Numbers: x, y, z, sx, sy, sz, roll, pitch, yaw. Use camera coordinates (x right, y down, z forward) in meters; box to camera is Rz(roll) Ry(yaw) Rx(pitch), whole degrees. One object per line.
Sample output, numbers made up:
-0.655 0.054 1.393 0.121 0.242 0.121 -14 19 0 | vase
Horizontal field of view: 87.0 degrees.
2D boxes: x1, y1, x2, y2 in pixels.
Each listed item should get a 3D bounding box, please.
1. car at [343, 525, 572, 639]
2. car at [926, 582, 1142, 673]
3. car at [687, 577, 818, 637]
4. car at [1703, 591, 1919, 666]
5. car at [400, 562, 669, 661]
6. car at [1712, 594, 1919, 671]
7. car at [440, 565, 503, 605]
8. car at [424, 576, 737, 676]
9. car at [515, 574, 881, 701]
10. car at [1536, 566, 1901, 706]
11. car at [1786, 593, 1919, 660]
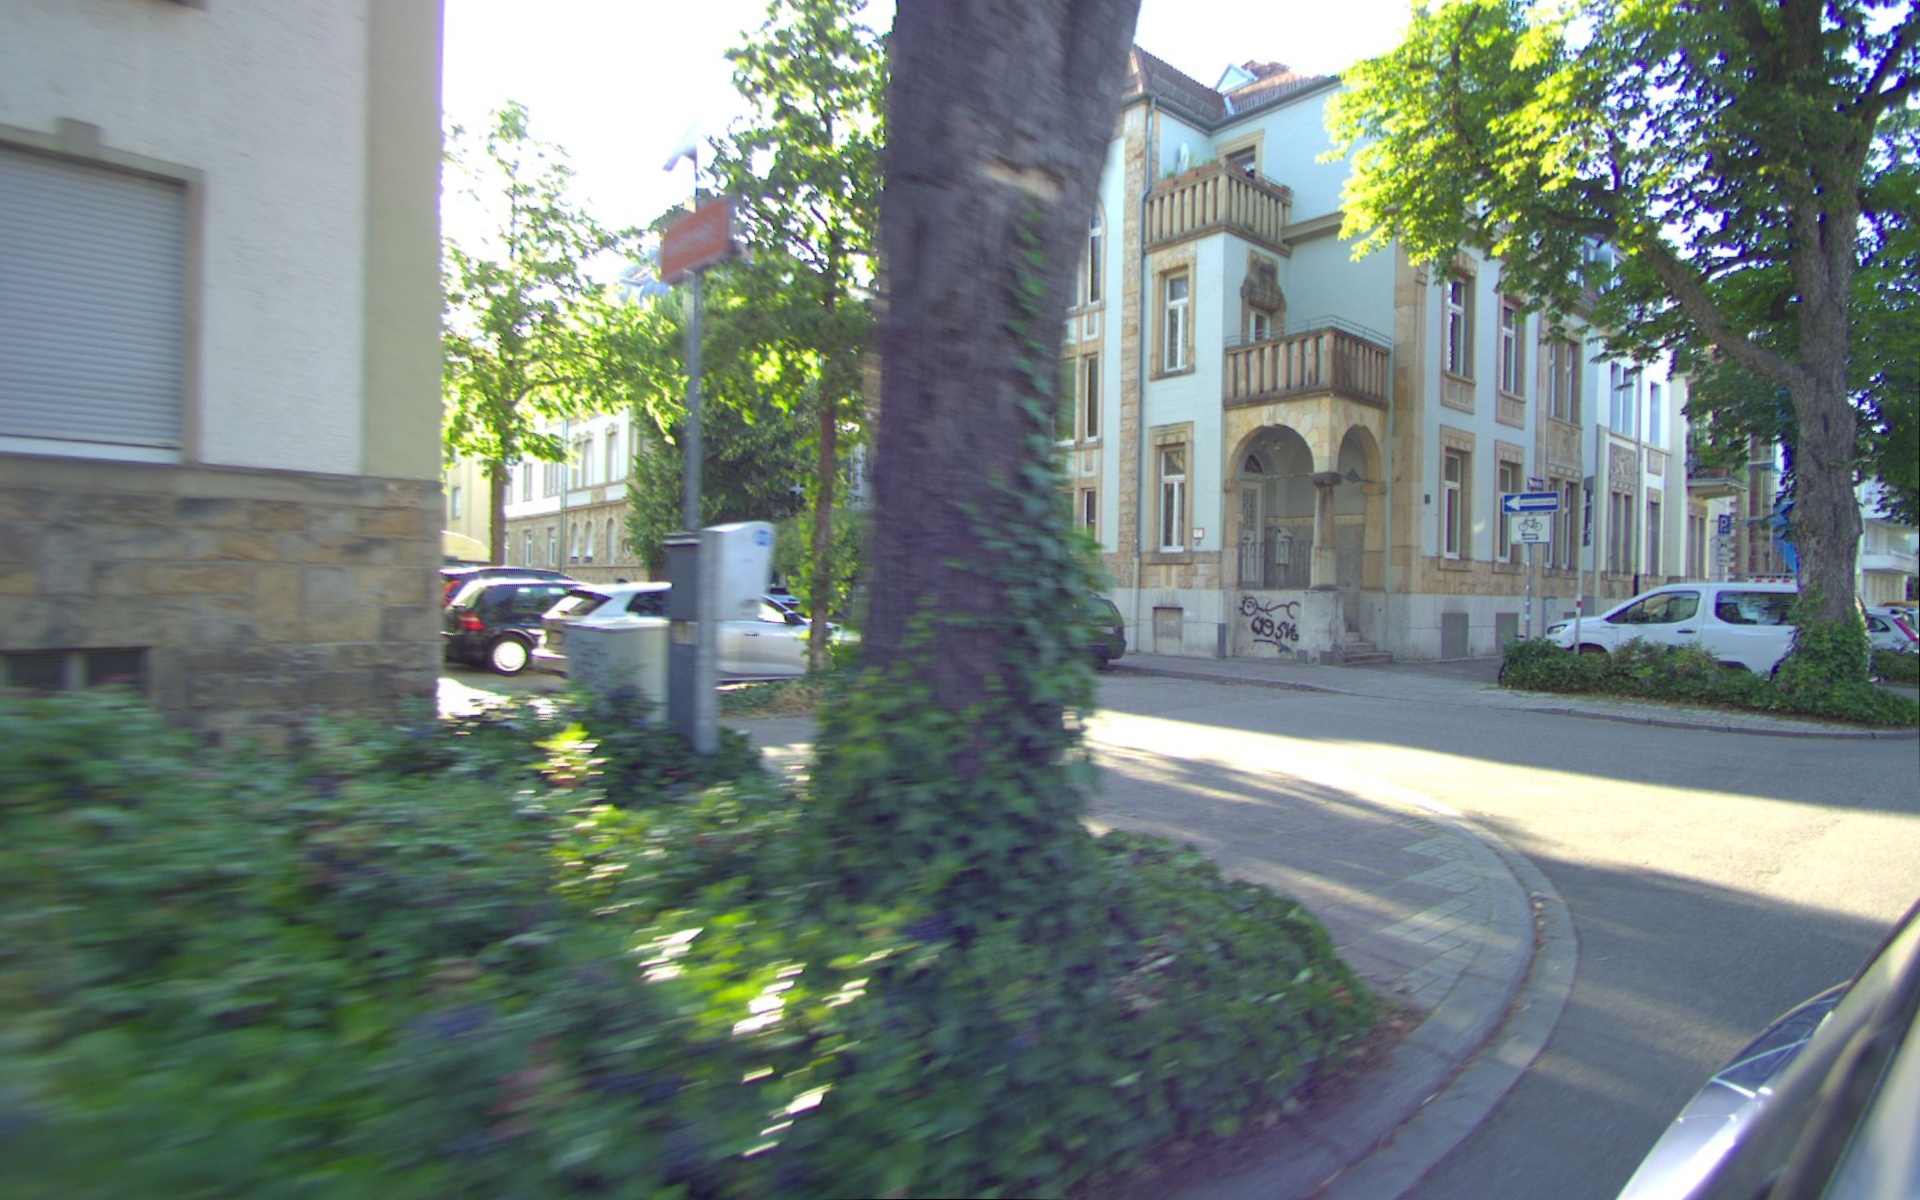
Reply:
-11.721 -0.359 23.770 4.440 2.451 1.876 2 0 -40 | car
1.314 0.471 19.403 1.626 1.495 4.164 3 -1 -41 | car
-5.817 0.174 28.038 1.726 1.494 4.164 2 0 -41 | car
21.611 0.659 25.500 1.796 1.553 4.324 1 2 -40 | car
-7.735 0.209 18.603 4.209 1.628 1.727 2 0 -41 | car
20.072 0.695 23.593 1.703 1.481 3.756 1 2 -40 | car
-24.097 -0.759 49.834 1.726 1.862 4.164 2 0 -41 | car
-6.132 0.405 16.651 4.448 1.427 1.847 2 0 -41 | car
-3.375 0.455 13.561 4.389 1.427 1.787 2 0 -41 | car
12.007 0.455 16.261 1.965 1.829 4.324 1 2 -40 | car
24.196 0.709 26.126 1.656 1.553 4.156 1 2 -38 | car
